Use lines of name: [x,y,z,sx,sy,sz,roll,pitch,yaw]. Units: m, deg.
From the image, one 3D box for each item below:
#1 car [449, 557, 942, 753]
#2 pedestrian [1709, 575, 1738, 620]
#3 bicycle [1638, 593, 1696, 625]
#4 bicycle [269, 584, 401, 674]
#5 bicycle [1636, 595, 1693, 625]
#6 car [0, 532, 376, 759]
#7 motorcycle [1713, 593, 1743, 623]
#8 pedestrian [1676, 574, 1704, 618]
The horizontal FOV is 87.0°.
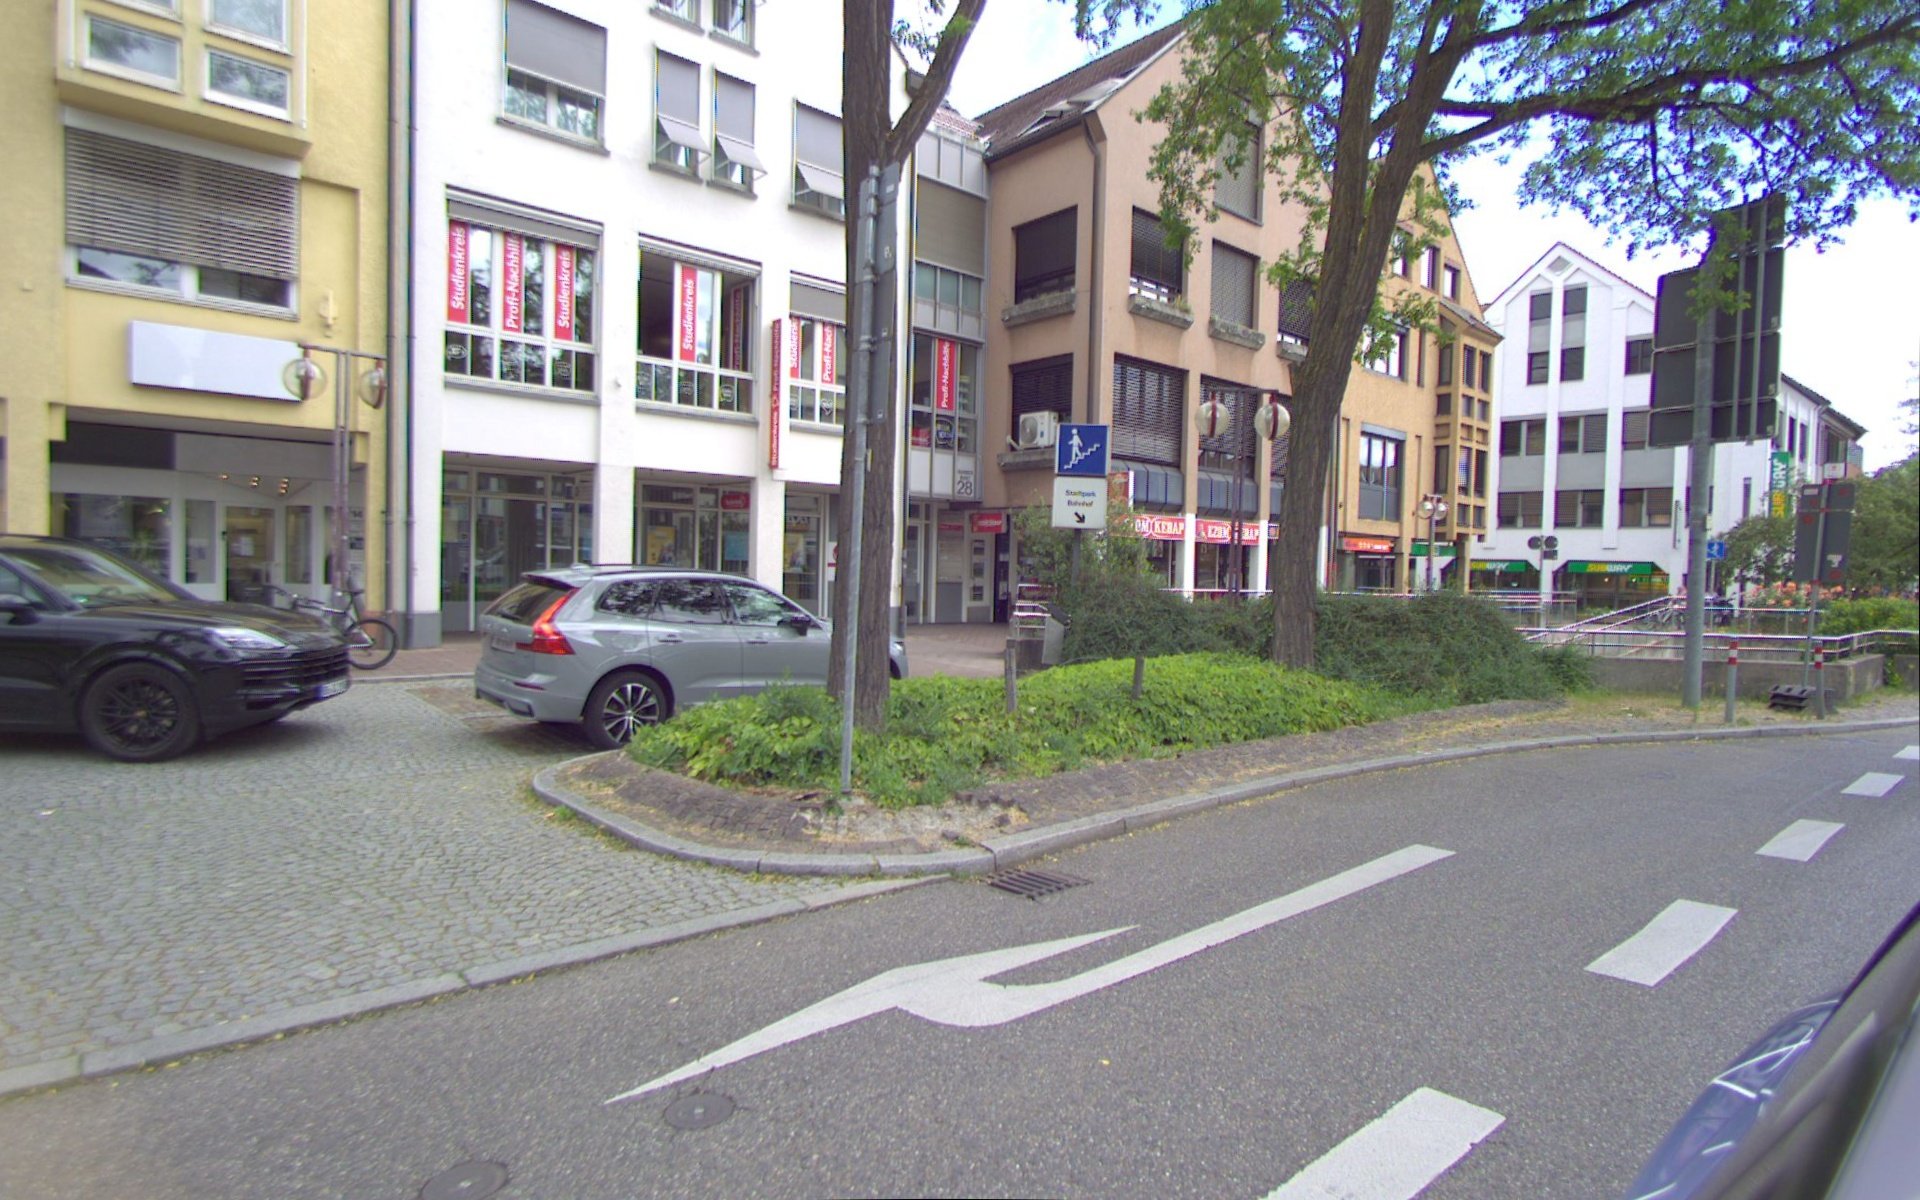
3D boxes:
car: [-2.593,0.419,10.731,4.684,1.615,1.996,0,2,-44]
pedestrian: [32.156,-0.113,42.621,0.772,1.846,0.869,0,0,-44]
bicycle: [24.087,0.299,34.489,1.584,1.014,0.409,2,1,37]
bicycle: [-7.808,0.340,12.667,1.354,1.057,0.393,0,2,-41]
bicycle: [24.489,0.344,35.213,1.584,0.981,0.455,2,1,36]
car: [-7.707,0.296,8.424,4.566,1.690,1.863,2,2,-12]
motorcycle: [28.689,0.299,37.811,1.960,1.081,0.464,0,2,-41]
pedestrian: [30.277,-0.156,41.960,0.882,1.779,0.931,2,1,38]
